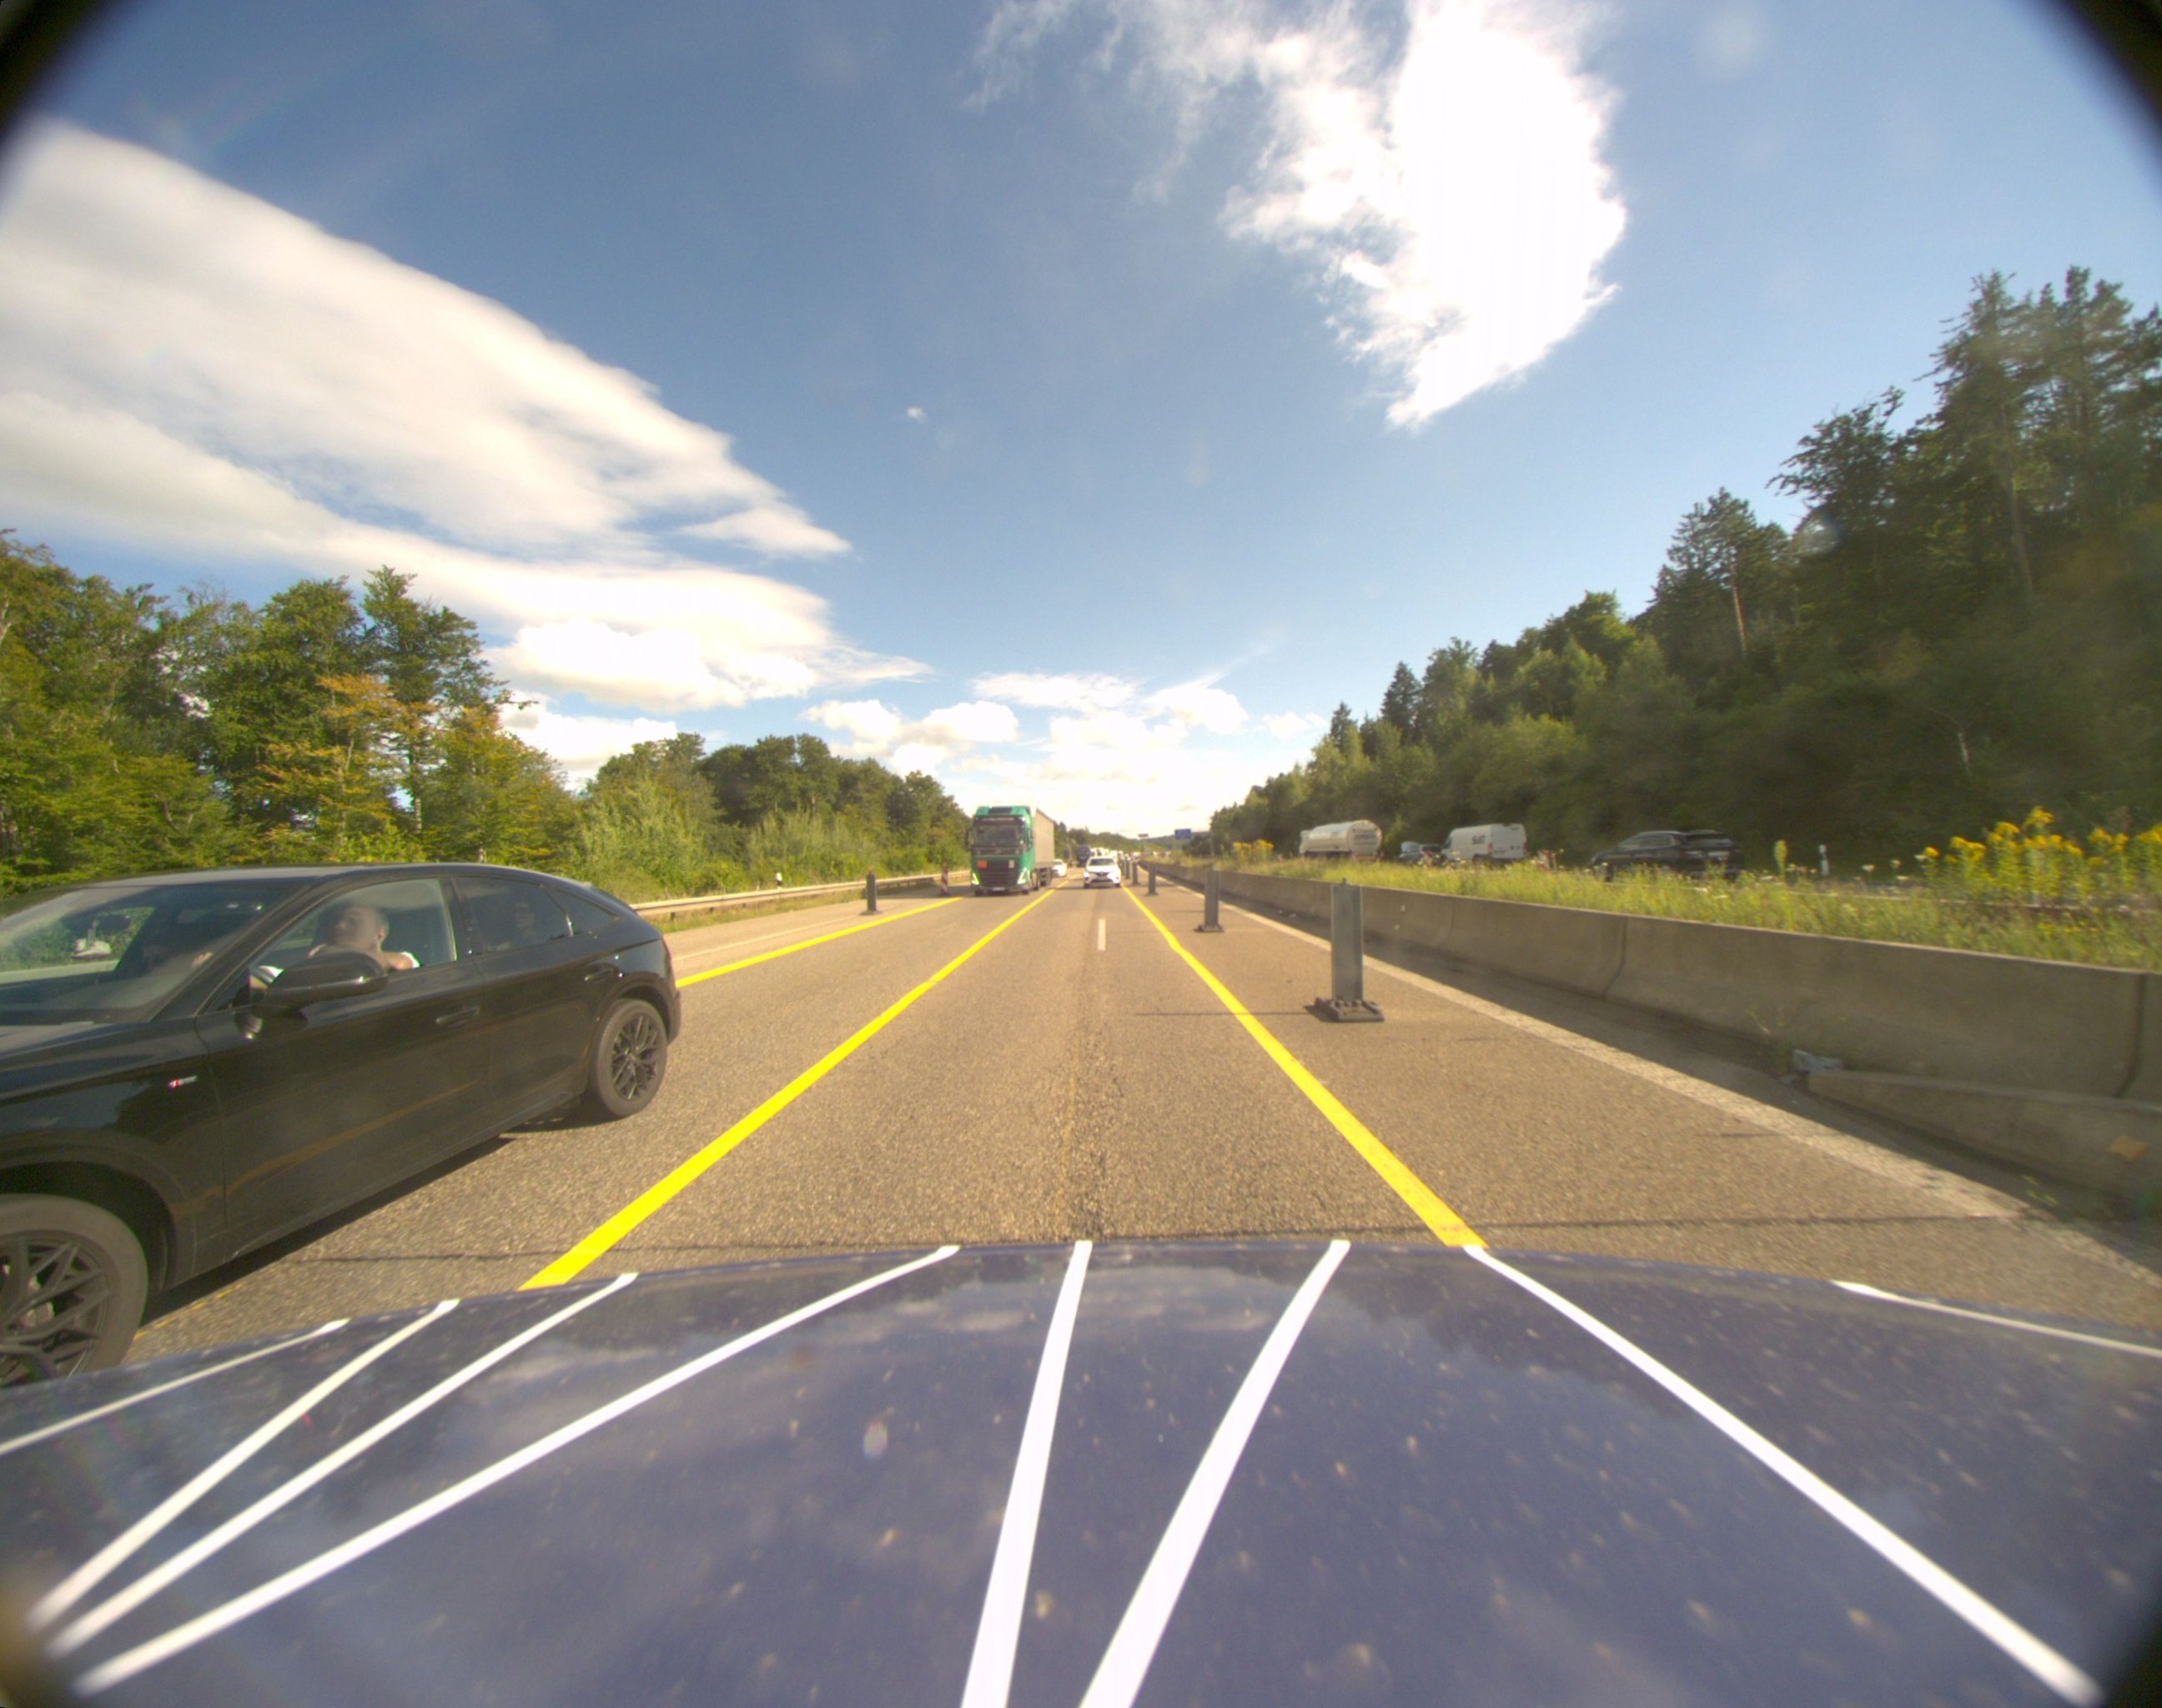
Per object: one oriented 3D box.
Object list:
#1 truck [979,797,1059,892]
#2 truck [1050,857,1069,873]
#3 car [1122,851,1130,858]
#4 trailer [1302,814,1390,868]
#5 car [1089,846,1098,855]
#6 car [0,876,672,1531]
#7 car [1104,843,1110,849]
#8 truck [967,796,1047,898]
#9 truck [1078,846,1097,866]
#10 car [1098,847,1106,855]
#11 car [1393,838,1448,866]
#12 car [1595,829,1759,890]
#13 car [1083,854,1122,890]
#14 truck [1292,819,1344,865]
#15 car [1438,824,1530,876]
[{"bbox_3d":[-2.961,-0.398,40.928,2.470,4.119,14.213,-2,0,2],"label":"truck"},{"bbox_3d":[-1.786,0.886,63.190,1.467,1.215,3.087,-2,0,0],"label":"truck"},{"bbox_3d":[12.927,0.101,217.104,1.998,2.002,4.001,-2,1,4],"label":"car"},{"bbox_3d":[19.202,-0.919,55.972,2.808,3.469,11.113,-2,0,2],"label":"trailer"},{"bbox_3d":[2.614,-0.792,163.064,1.750,1.787,4.000,-2,0,2],"label":"car"},{"bbox_3d":[-3.730,0.999,3.016,1.782,1.593,4.293,-2,0,1],"label":"car"},{"bbox_3d":[7.592,-2.240,219.411,1.750,1.787,4.000,-2,0,2],"label":"car"},{"bbox_3d":[-3.196,-0.314,34.697,2.527,4.075,6.857,-2,1,2],"label":"truck"},{"bbox_3d":[1.139,0.337,131.247,2.576,3.167,6.804,-2,1,5],"label":"truck"},{"bbox_3d":[5.215,-0.732,187.856,1.750,1.787,4.000,-2,0,2],"label":"car"},{"bbox_3d":[24.038,-0.148,53.991,1.865,1.843,4.762,-2,0,2],"label":"car"},{"bbox_3d":[17.437,0.133,22.506,1.782,1.593,4.018,-2,0,2],"label":"car"},{"bbox_3d":[1.108,0.824,37.624,1.782,1.593,4.018,-2,0,2],"label":"car"},{"bbox_3d":[19.359,-0.968,62.247,2.791,3.469,4.939,-2,1,2],"label":"truck"},{"bbox_3d":[23.020,-0.243,43.806,2.033,2.669,6.523,-2,0,2],"label":"car"}]
